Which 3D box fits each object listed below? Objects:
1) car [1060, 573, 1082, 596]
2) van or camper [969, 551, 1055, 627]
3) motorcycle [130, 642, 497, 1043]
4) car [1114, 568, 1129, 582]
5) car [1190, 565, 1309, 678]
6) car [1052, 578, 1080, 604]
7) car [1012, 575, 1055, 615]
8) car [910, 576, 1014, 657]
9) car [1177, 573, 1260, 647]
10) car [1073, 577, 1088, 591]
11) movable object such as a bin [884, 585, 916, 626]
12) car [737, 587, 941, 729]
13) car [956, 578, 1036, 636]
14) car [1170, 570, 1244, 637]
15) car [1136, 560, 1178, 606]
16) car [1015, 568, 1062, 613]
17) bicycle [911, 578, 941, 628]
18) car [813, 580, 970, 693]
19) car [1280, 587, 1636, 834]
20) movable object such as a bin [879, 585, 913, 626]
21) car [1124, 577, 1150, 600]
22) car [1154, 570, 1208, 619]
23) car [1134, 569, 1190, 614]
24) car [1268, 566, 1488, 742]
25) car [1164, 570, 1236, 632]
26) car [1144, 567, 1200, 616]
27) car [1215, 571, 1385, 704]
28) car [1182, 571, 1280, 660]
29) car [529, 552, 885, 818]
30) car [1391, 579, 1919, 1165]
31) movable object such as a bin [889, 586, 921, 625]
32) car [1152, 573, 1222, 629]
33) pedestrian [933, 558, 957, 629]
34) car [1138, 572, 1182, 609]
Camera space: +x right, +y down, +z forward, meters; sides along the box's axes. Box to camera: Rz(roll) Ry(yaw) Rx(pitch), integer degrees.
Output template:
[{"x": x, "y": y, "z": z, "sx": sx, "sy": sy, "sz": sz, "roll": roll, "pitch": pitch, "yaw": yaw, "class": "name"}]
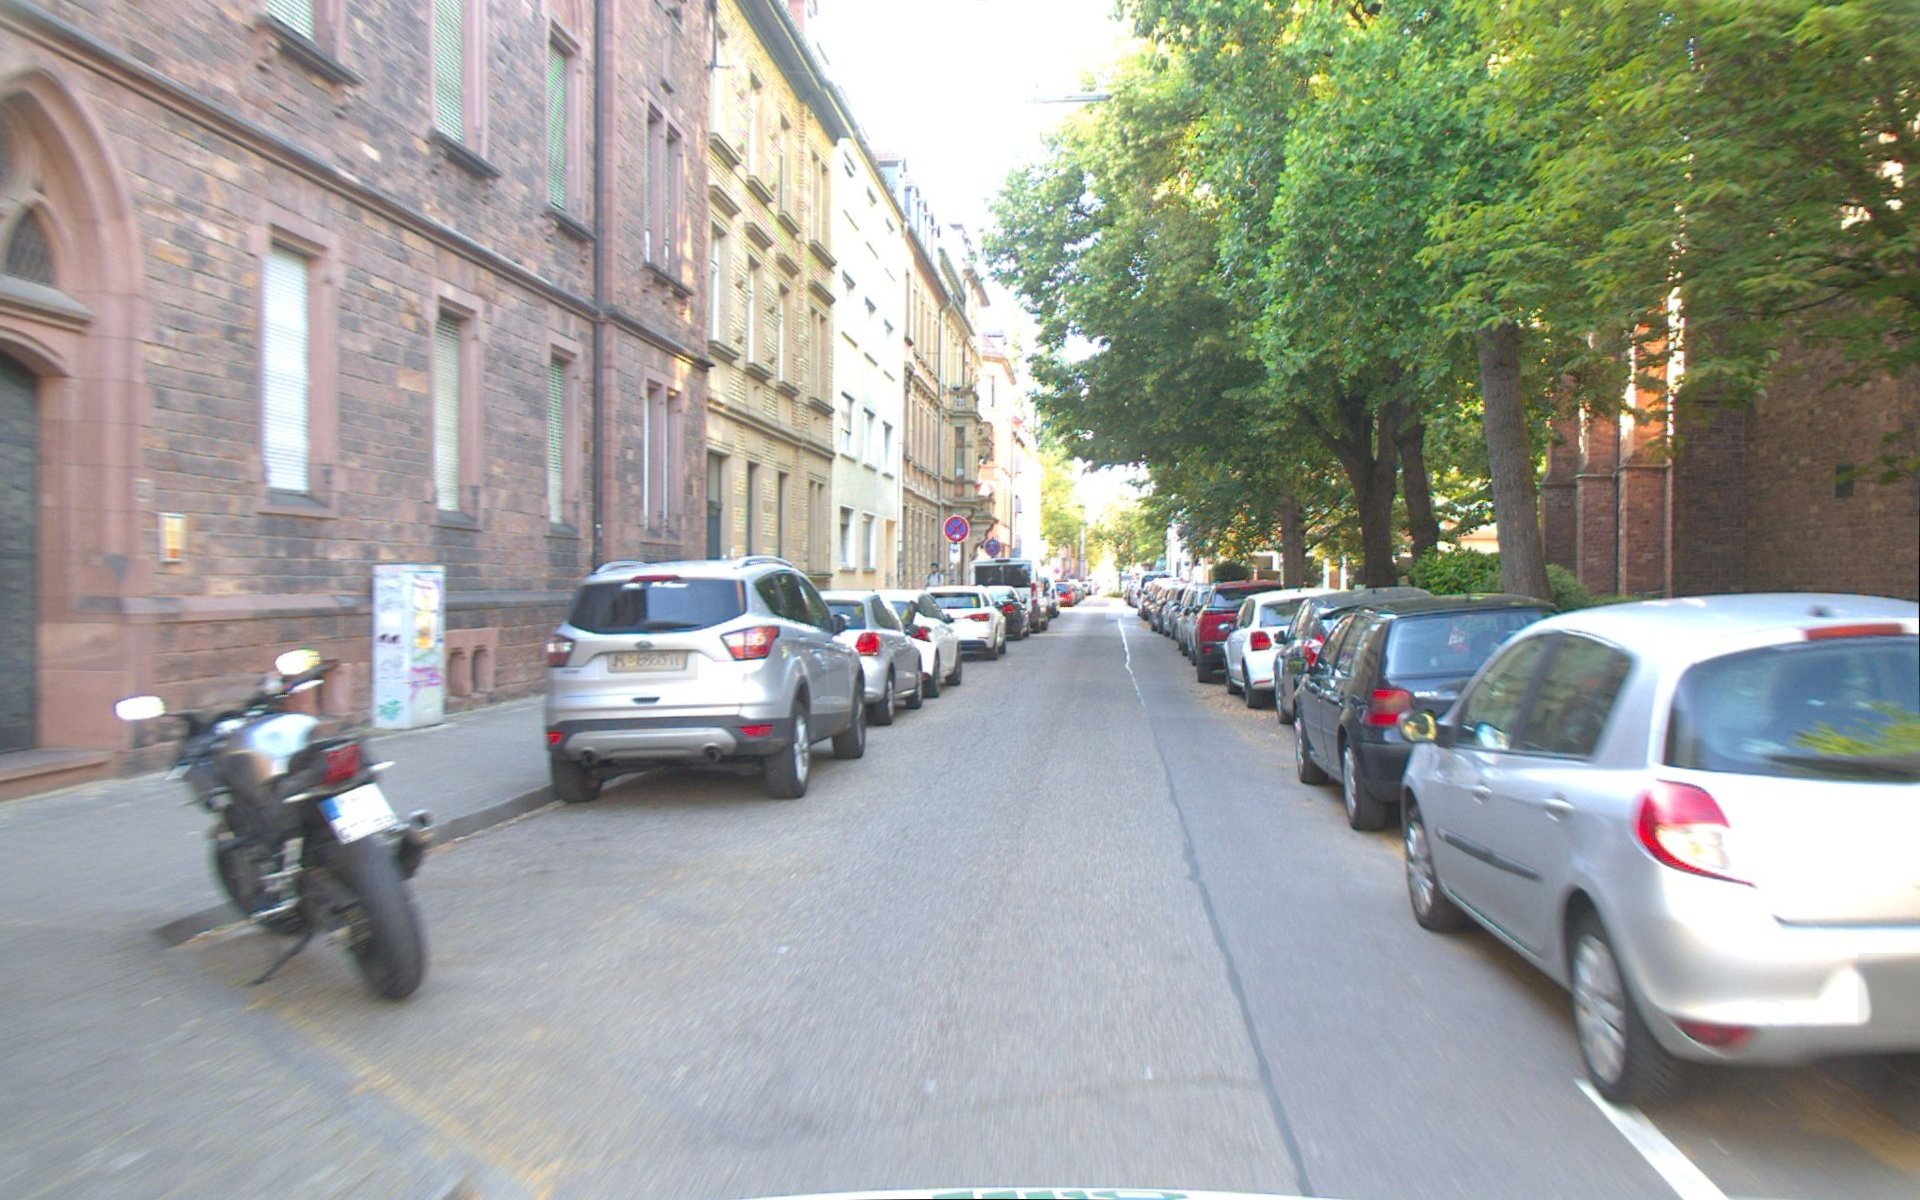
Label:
[{"x": 9.054, "y": -1.271, "z": 135.017, "sx": 1.728, "sy": 1.816, "sz": 4.042, "roll": -2, "pitch": 1, "yaw": 5, "class": "car"}, {"x": 1.665, "y": -0.362, "z": 50.930, "sx": 2.130, "sy": 2.185, "sz": 5.158, "roll": -2, "pitch": 1, "yaw": 7, "class": "van or camper"}, {"x": -2.654, "y": 0.832, "z": 6.601, "sx": 0.695, "sy": 1.273, "sz": 2.294, "roll": 0, "pitch": 0, "yaw": -39, "class": "motorcycle"}, {"x": 18.605, "y": -2.903, "z": 190.383, "sx": 1.640, "sy": 1.513, "sz": 3.640, "roll": -2, "pitch": 1, "yaw": 5, "class": "car"}, {"x": 4.739, "y": 0.327, "z": 27.498, "sx": 1.629, "sy": 1.613, "sz": 4.103, "roll": -4, "pitch": 0, "yaw": 7, "class": "car"}, {"x": 6.488, "y": -0.575, "z": 100.679, "sx": 1.594, "sy": 1.507, "sz": 3.603, "roll": -2, "pitch": 1, "yaw": 5, "class": "car"}, {"x": 2.963, "y": -0.231, "z": 66.934, "sx": 1.657, "sy": 1.540, "sz": 3.974, "roll": -2, "pitch": 1, "yaw": 2, "class": "car"}, {"x": 0.109, "y": 0.289, "z": 33.826, "sx": 1.694, "sy": 1.481, "sz": 4.524, "roll": -2, "pitch": 1, "yaw": 5, "class": "car"}, {"x": 5.730, "y": 0.205, "z": 37.009, "sx": 1.565, "sy": 1.496, "sz": 3.872, "roll": -2, "pitch": 0, "yaw": 6, "class": "car"}, {"x": 13.838, "y": -1.787, "z": 189.111, "sx": 1.640, "sy": 1.513, "sz": 4.097, "roll": -2, "pitch": 1, "yaw": 5, "class": "car"}, {"x": -1.663, "y": 0.151, "z": 46.017, "sx": 0.783, "sy": 1.107, "sz": 0.666, "roll": 0, "pitch": -1, "yaw": 9, "class": "movable object such as a bin"}, {"x": -1.303, "y": 0.604, "z": 19.329, "sx": 1.672, "sy": 1.441, "sz": 3.806, "roll": -2, "pitch": 0, "yaw": 6, "class": "car"}, {"x": 1.021, "y": 0.141, "z": 44.594, "sx": 1.694, "sy": 1.426, "sz": 4.319, "roll": -2, "pitch": 1, "yaw": 7, "class": "car"}, {"x": 6.149, "y": 0.077, "z": 41.429, "sx": 1.565, "sy": 1.493, "sz": 3.566, "roll": -4, "pitch": 0, "yaw": 6, "class": "car"}, {"x": 9.269, "y": -0.795, "z": 77.695, "sx": 1.873, "sy": 2.033, "sz": 4.796, "roll": -2, "pitch": 1, "yaw": 7, "class": "car"}, {"x": 3.450, "y": -0.441, "z": 71.737, "sx": 1.792, "sy": 1.843, "sz": 4.575, "roll": -2, "pitch": 1, "yaw": 5, "class": "car"}, {"x": -0.908, "y": 0.072, "z": 44.060, "sx": 0.558, "sy": 1.265, "sz": 1.846, "roll": 3, "pitch": 1, "yaw": 4, "class": "bicycle"}, {"x": -0.903, "y": 0.482, "z": 23.796, "sx": 1.672, "sy": 1.441, "sz": 3.806, "roll": -2, "pitch": 0, "yaw": 6, "class": "car"}, {"x": 3.373, "y": 0.660, "z": 11.943, "sx": 1.587, "sy": 1.461, "sz": 4.005, "roll": -1, "pitch": 0, "yaw": 4, "class": "car"}, {"x": -1.758, "y": 0.159, "z": 45.275, "sx": 0.818, "sy": 1.107, "sz": 0.675, "roll": 0, "pitch": -1, "yaw": 8, "class": "movable object such as a bin"}, {"x": 12.305, "y": -0.804, "z": 115.018, "sx": 1.640, "sy": 1.533, "sz": 3.940, "roll": -2, "pitch": 1, "yaw": 5, "class": "car"}, {"x": 7.609, "y": -0.183, "z": 57.192, "sx": 1.585, "sy": 1.512, "sz": 3.778, "roll": -4, "pitch": 0, "yaw": 5, "class": "car"}, {"x": 8.143, "y": -0.328, "z": 66.940, "sx": 1.704, "sy": 1.631, "sz": 4.265, "roll": -4, "pitch": 0, "yaw": 1, "class": "car"}, {"x": 4.330, "y": 0.505, "z": 17.696, "sx": 1.629, "sy": 1.546, "sz": 4.063, "roll": -4, "pitch": 0, "yaw": 6, "class": "car"}, {"x": 6.606, "y": 0.022, "z": 45.841, "sx": 1.566, "sy": 1.531, "sz": 3.629, "roll": -4, "pitch": 0, "yaw": 3, "class": "car"}, {"x": 7.873, "y": -0.298, "z": 61.684, "sx": 1.586, "sy": 1.652, "sz": 3.864, "roll": -4, "pitch": 0, "yaw": 1, "class": "car"}, {"x": 4.570, "y": 0.471, "z": 22.735, "sx": 1.629, "sy": 1.546, "sz": 3.953, "roll": -4, "pitch": 0, "yaw": 3, "class": "car"}, {"x": 5.304, "y": 0.278, "z": 32.722, "sx": 1.565, "sy": 1.531, "sz": 3.723, "roll": -4, "pitch": 0, "yaw": 6, "class": "car"}, {"x": -1.772, "y": 0.555, "z": 13.021, "sx": 1.672, "sy": 1.703, "sz": 4.281, "roll": -2, "pitch": 0, "yaw": 6, "class": "car"}, {"x": 2.866, "y": 0.709, "z": 6.280, "sx": 1.673, "sy": 1.546, "sz": 3.833, "roll": -1, "pitch": 0, "yaw": 4, "class": "car"}, {"x": -1.564, "y": 0.154, "z": 46.729, "sx": 0.783, "sy": 1.107, "sz": 0.666, "roll": 0, "pitch": -1, "yaw": 9, "class": "movable object such as a bin"}, {"x": 6.830, "y": 0.027, "z": 50.137, "sx": 1.641, "sy": 1.466, "sz": 4.697, "roll": -4, "pitch": 0, "yaw": 3, "class": "car"}, {"x": -0.402, "y": -0.182, "z": 43.985, "sx": 0.478, "sy": 1.834, "sz": 1.116, "roll": 3, "pitch": 1, "yaw": 4, "class": "pedestrian"}, {"x": 8.697, "y": -0.431, "z": 72.045, "sx": 1.683, "sy": 1.598, "sz": 3.830, "roll": 0, "pitch": 1, "yaw": 4, "class": "car"}]
